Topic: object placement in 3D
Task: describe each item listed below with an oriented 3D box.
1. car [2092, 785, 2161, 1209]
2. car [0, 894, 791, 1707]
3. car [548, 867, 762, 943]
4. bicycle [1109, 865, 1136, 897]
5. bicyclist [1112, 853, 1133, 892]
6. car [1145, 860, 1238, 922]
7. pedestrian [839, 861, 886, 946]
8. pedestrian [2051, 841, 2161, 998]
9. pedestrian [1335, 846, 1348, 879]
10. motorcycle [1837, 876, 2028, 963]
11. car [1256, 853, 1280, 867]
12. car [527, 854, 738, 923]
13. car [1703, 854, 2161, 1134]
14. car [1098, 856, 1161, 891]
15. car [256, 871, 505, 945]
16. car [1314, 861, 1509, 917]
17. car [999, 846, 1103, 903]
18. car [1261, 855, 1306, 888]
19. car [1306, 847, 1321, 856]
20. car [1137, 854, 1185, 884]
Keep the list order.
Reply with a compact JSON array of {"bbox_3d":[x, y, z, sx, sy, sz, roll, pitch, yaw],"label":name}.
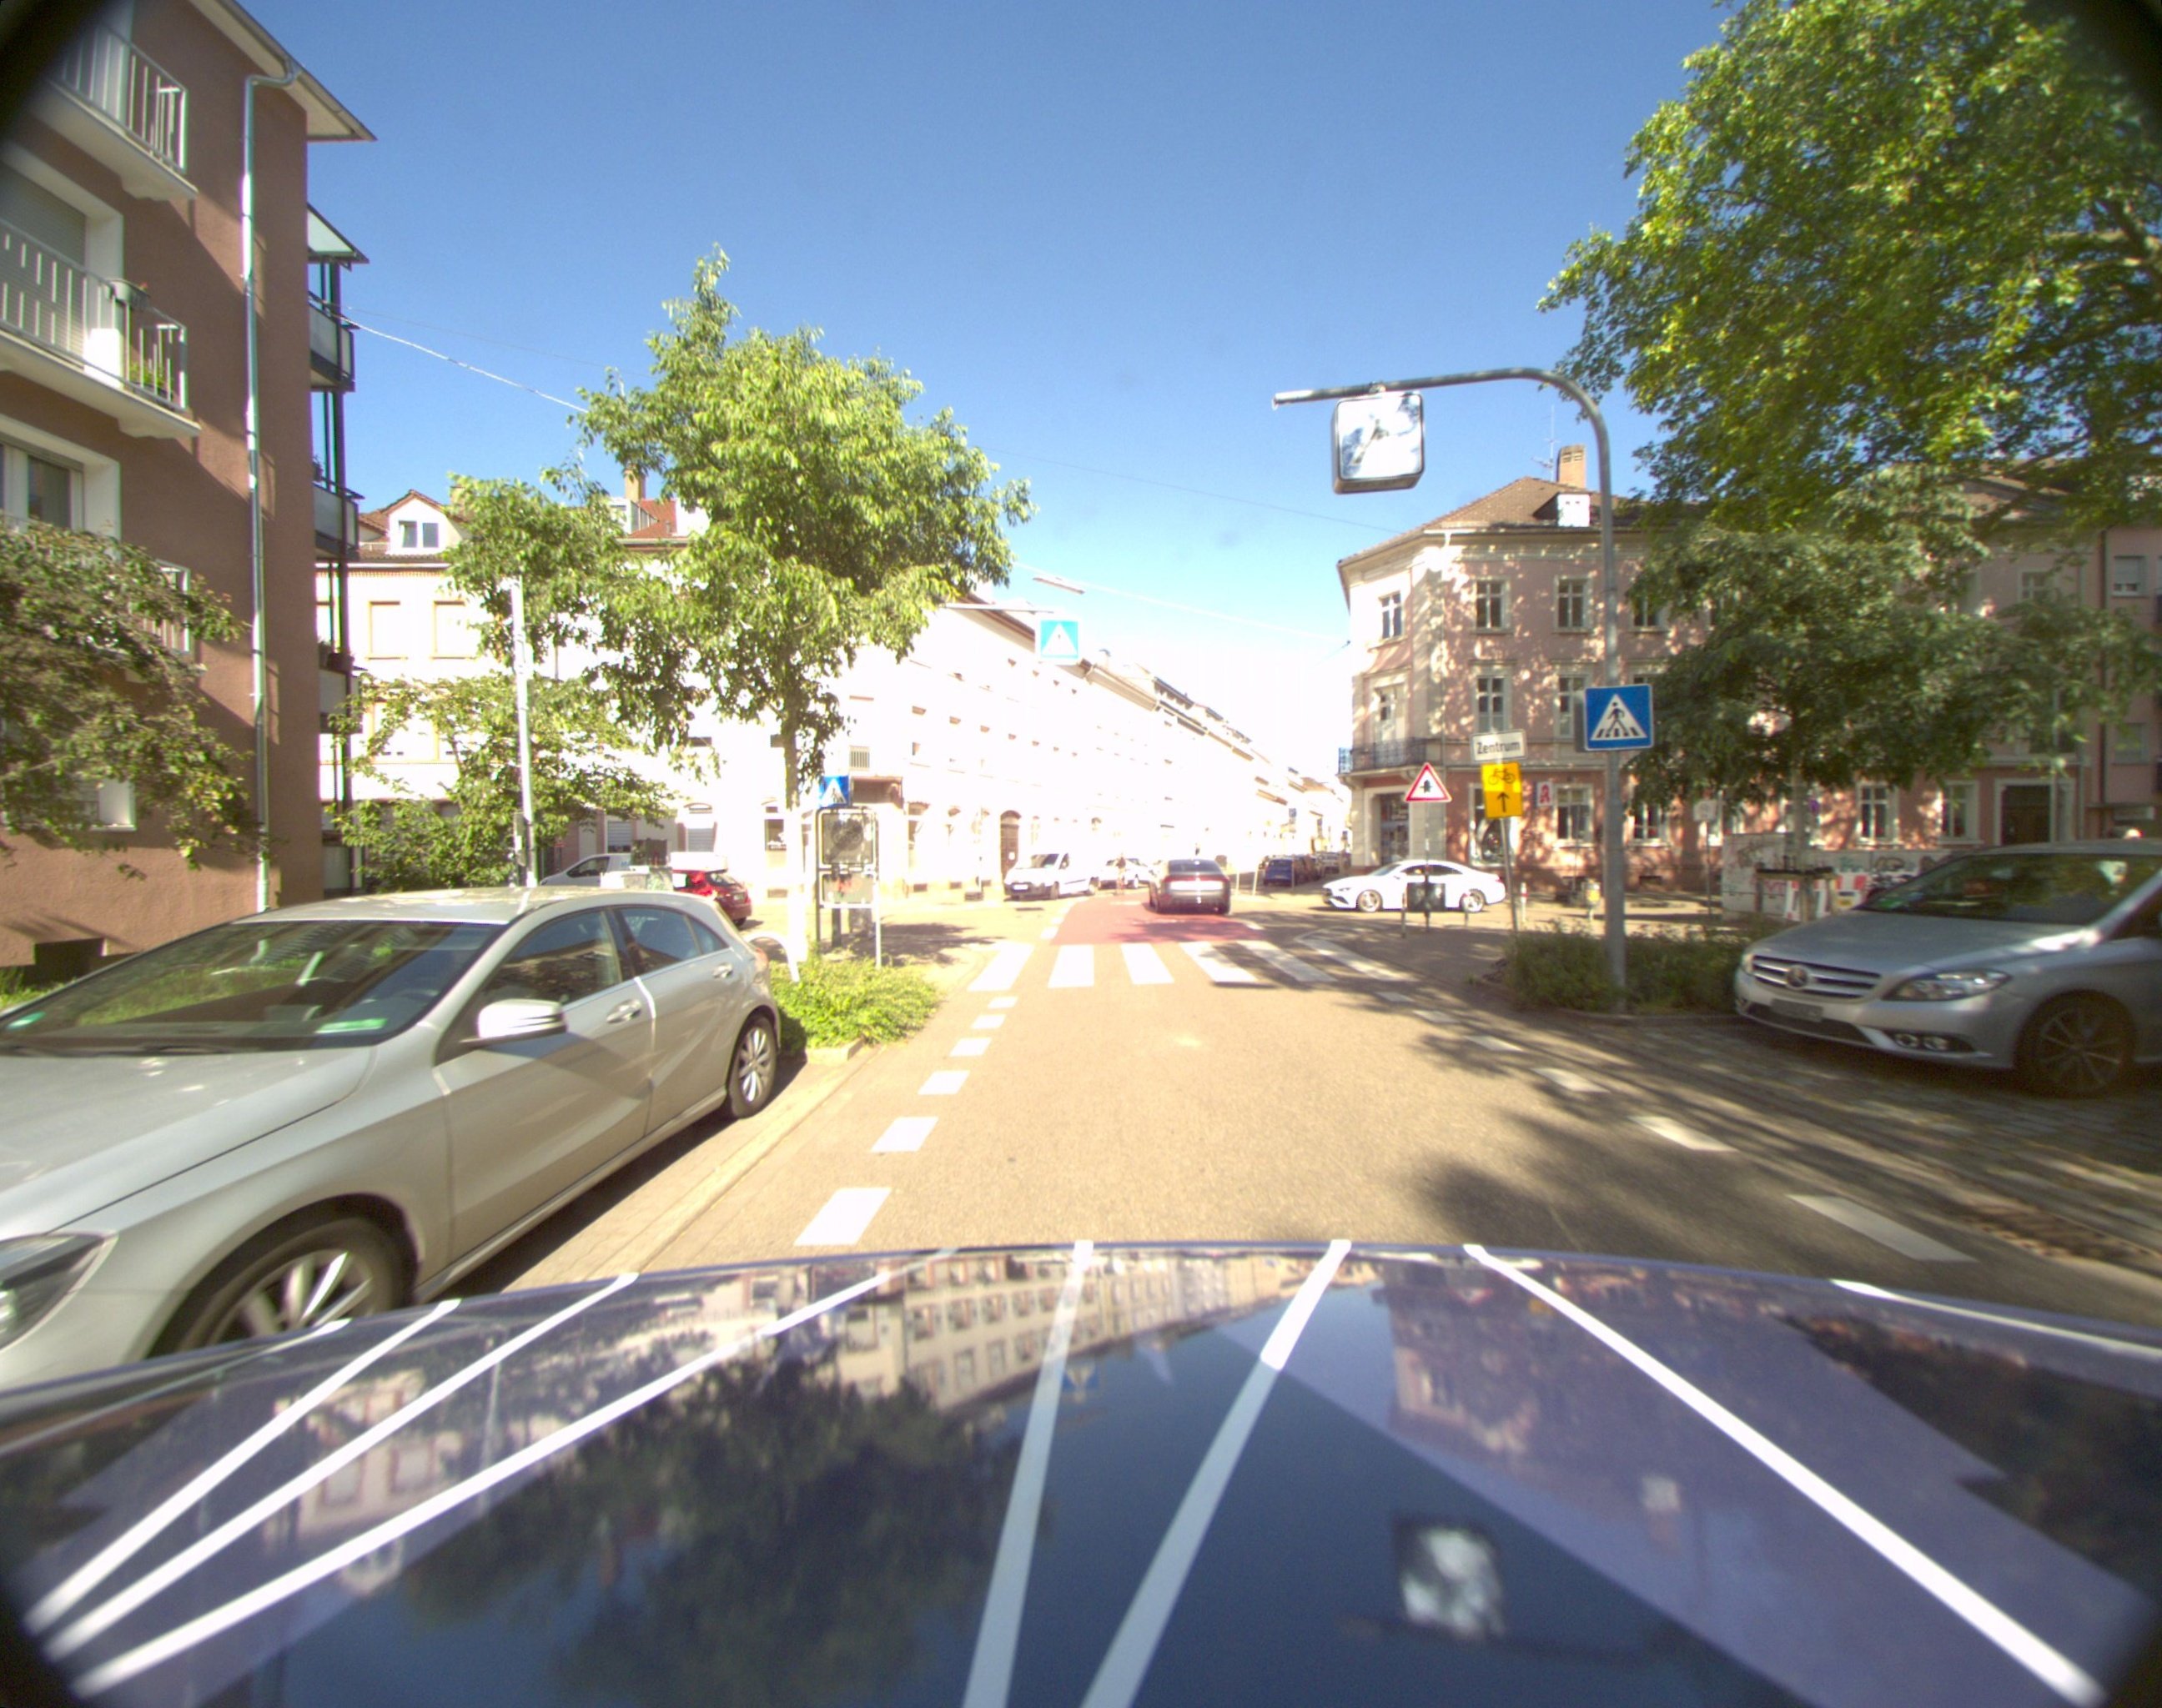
[{"bbox_3d":[7.438,0.586,2.853,4.742,1.995,1.959,-2,1,-1],"label":"car"},{"bbox_3d":[-2.875,1.015,2.990,1.744,1.445,4.155,-1,0,2],"label":"car"},{"bbox_3d":[-9.474,1.098,17.102,3.804,1.492,1.690,-1,2,0],"label":"car"},{"bbox_3d":[1.686,1.073,30.571,0.671,1.192,1.928,-1,0,15],"label":"bicycle"},{"bbox_3d":[1.680,0.724,30.606,0.637,1.538,1.026,-1,0,14],"label":"bicyclist"},{"bbox_3d":[2.910,0.930,20.989,1.914,1.445,4.577,-1,0,0],"label":"car"},{"bbox_3d":[-4.328,0.958,15.108,0.735,1.605,0.816,-1,1,-6],"label":"pedestrian"},{"bbox_3d":[11.048,0.651,8.013,0.847,1.564,0.845,-1,1,-26],"label":"pedestrian"},{"bbox_3d":[14.949,0.459,43.560,0.570,1.846,0.708,-3,0,21],"label":"pedestrian"},{"bbox_3d":[12.523,0.917,11.284,0.669,1.173,1.922,-1,-1,1],"label":"motorcycle"},{"bbox_3d":[18.260,0.551,74.187,1.703,1.292,3.645,0,0,23],"label":"car"},{"bbox_3d":[-12.999,0.995,22.246,5.010,1.847,1.901,-1,-2,-1],"label":"car"},{"bbox_3d":[7.273,0.831,5.390,4.301,1.603,1.758,-1,1,0],"label":"car"},{"bbox_3d":[2.430,0.916,37.145,1.642,1.532,4.390,-2,0,23],"label":"car"},{"bbox_3d":[-15.583,1.178,17.046,4.076,1.491,1.659,-1,0,2],"label":"car"},{"bbox_3d":[8.988,0.944,20.938,4.558,1.448,1.864,0,-1,3],"label":"car"},{"bbox_3d":[-0.989,0.698,28.607,2.046,1.934,5.033,-1,0,21],"label":"car"},{"bbox_3d":[10.444,0.860,39.053,1.703,1.426,3.644,2,2,23],"label":"car"},{"bbox_3d":[34.886,-0.397,113.958,1.703,1.292,3.645,0,0,23],"label":"car"},{"bbox_3d":[4.594,0.832,43.132,1.628,1.532,3.645,-2,0,23],"label":"car"}]
